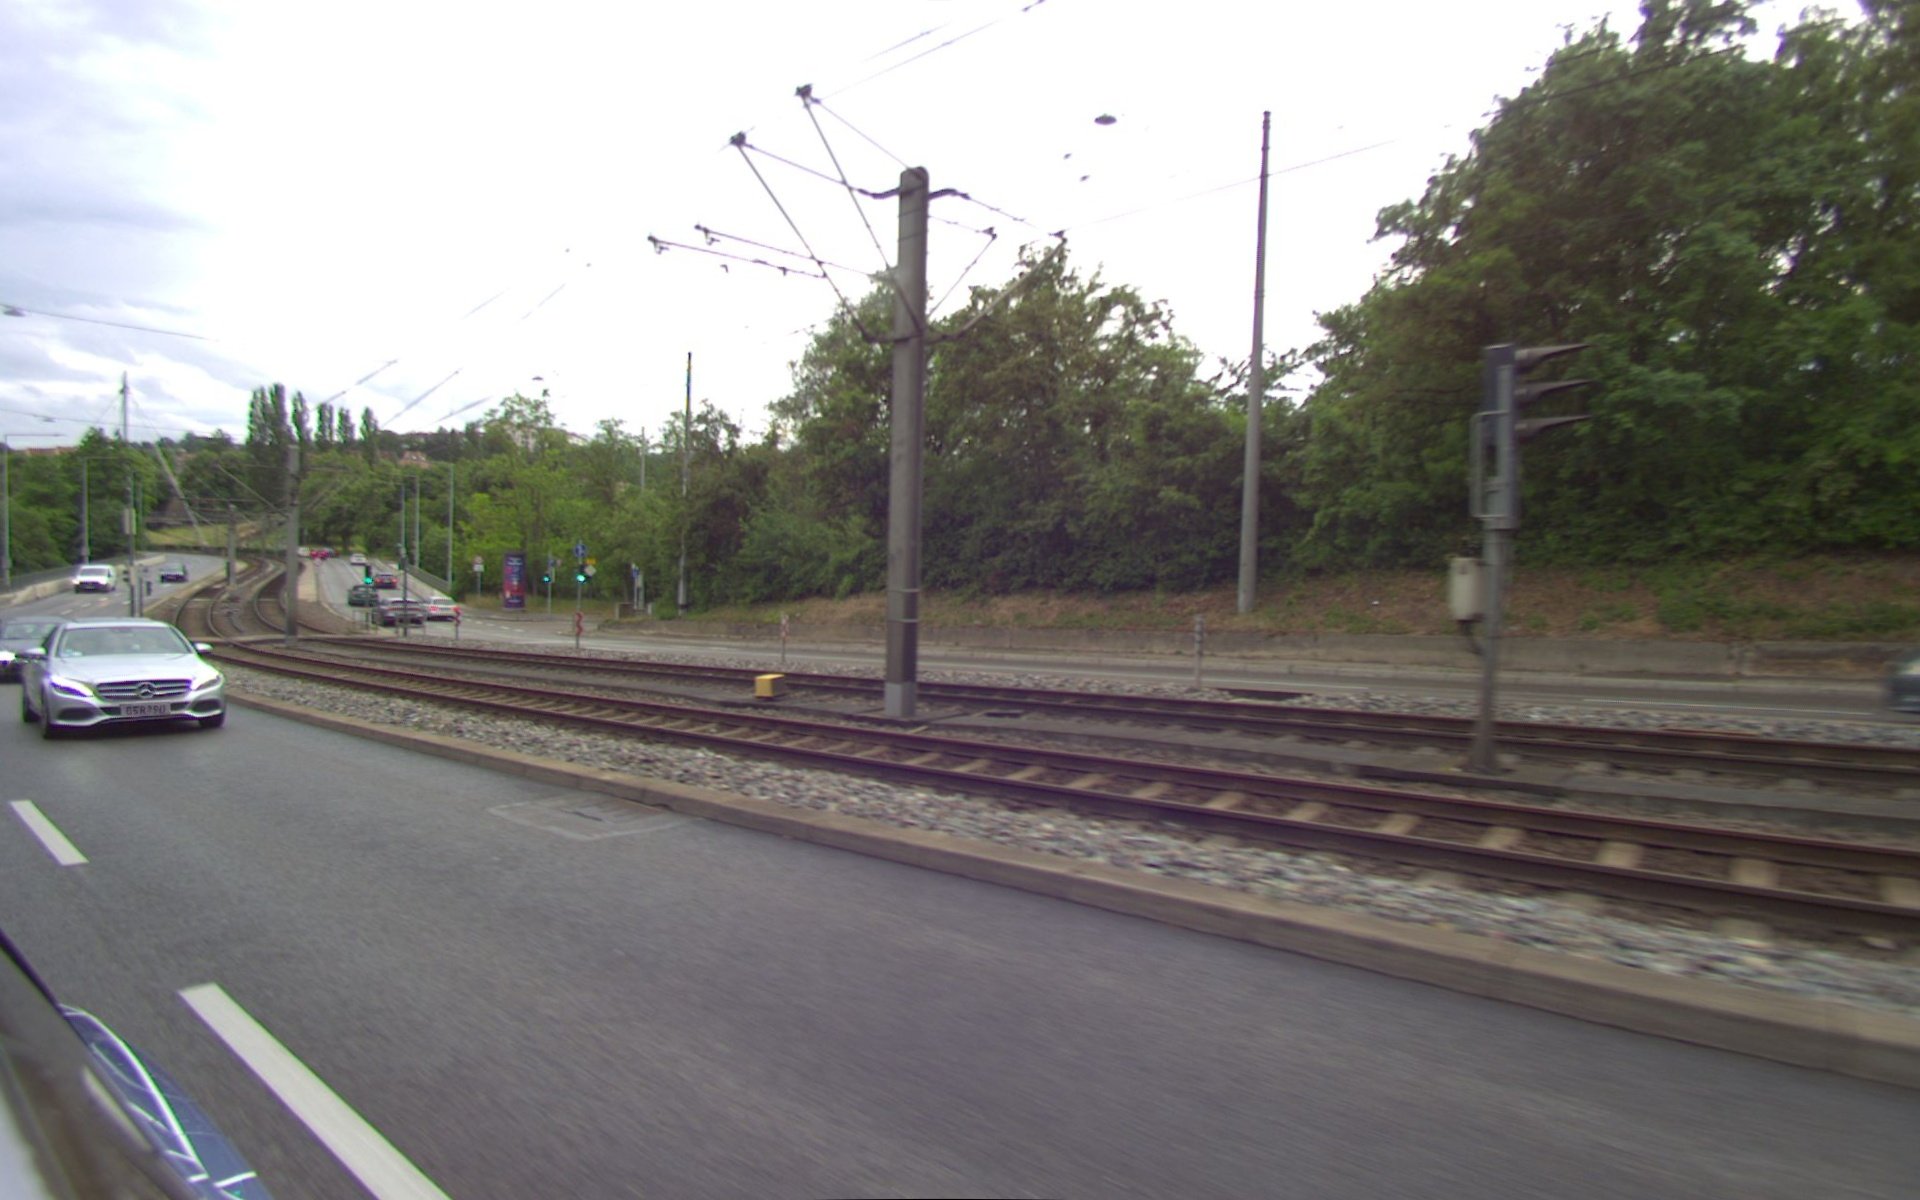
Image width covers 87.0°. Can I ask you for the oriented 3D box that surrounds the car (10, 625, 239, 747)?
[{"bbox_3d":[-11.313,1.033,13.606,4.059,1.366,1.847,-1,-1,43],"label":"car"}]

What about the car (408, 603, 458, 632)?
[{"bbox_3d":[-31.852,1.032,61.092,1.796,1.390,4.715,1,3,-39],"label":"car"}]

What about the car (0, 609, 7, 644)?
[{"bbox_3d":[-42.619,1.169,43.598,1.740,1.512,4.009,0,0,-36],"label":"car"}]

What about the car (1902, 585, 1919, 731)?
[{"bbox_3d":[11.389,0.541,9.223,4.031,1.425,1.688,-1,0,42],"label":"car"}]

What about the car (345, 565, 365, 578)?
[{"bbox_3d":[-81.398,-3.800,136.089,1.797,1.526,4.540,0,4,-37],"label":"car"}]

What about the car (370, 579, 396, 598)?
[{"bbox_3d":[-51.342,-1.041,90.033,1.692,1.469,4.288,0,2,-33],"label":"car"}]

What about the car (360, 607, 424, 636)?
[{"bbox_3d":[-29.826,1.123,53.101,1.839,1.449,4.860,2,-2,-43],"label":"car"}]

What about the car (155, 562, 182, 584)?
[{"bbox_3d":[-68.575,-2.340,87.764,1.740,1.830,4.009,-1,1,-37],"label":"car"}]

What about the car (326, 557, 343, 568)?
[{"bbox_3d":[-98.838,-5.975,159.950,1.943,1.609,5.198,1,2,-36],"label":"car"}]

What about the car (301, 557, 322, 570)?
[{"bbox_3d":[-94.671,-5.332,147.795,1.825,1.609,4.739,1,2,-42],"label":"car"}]

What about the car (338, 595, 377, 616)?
[{"bbox_3d":[-41.862,0.407,70.296,1.613,1.395,3.899,2,-1,-42],"label":"car"}]

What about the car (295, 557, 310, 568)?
[{"bbox_3d":[-102.973,-5.930,158.394,1.707,1.447,4.504,1,3,-36],"label":"car"}]

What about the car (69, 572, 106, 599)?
[{"bbox_3d":[-63.478,-1.039,73.701,1.740,1.830,4.009,-1,1,-37],"label":"car"}]

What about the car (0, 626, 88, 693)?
[{"bbox_3d":[-21.560,1.322,23.435,4.001,1.362,1.712,-1,0,44],"label":"car"}]
